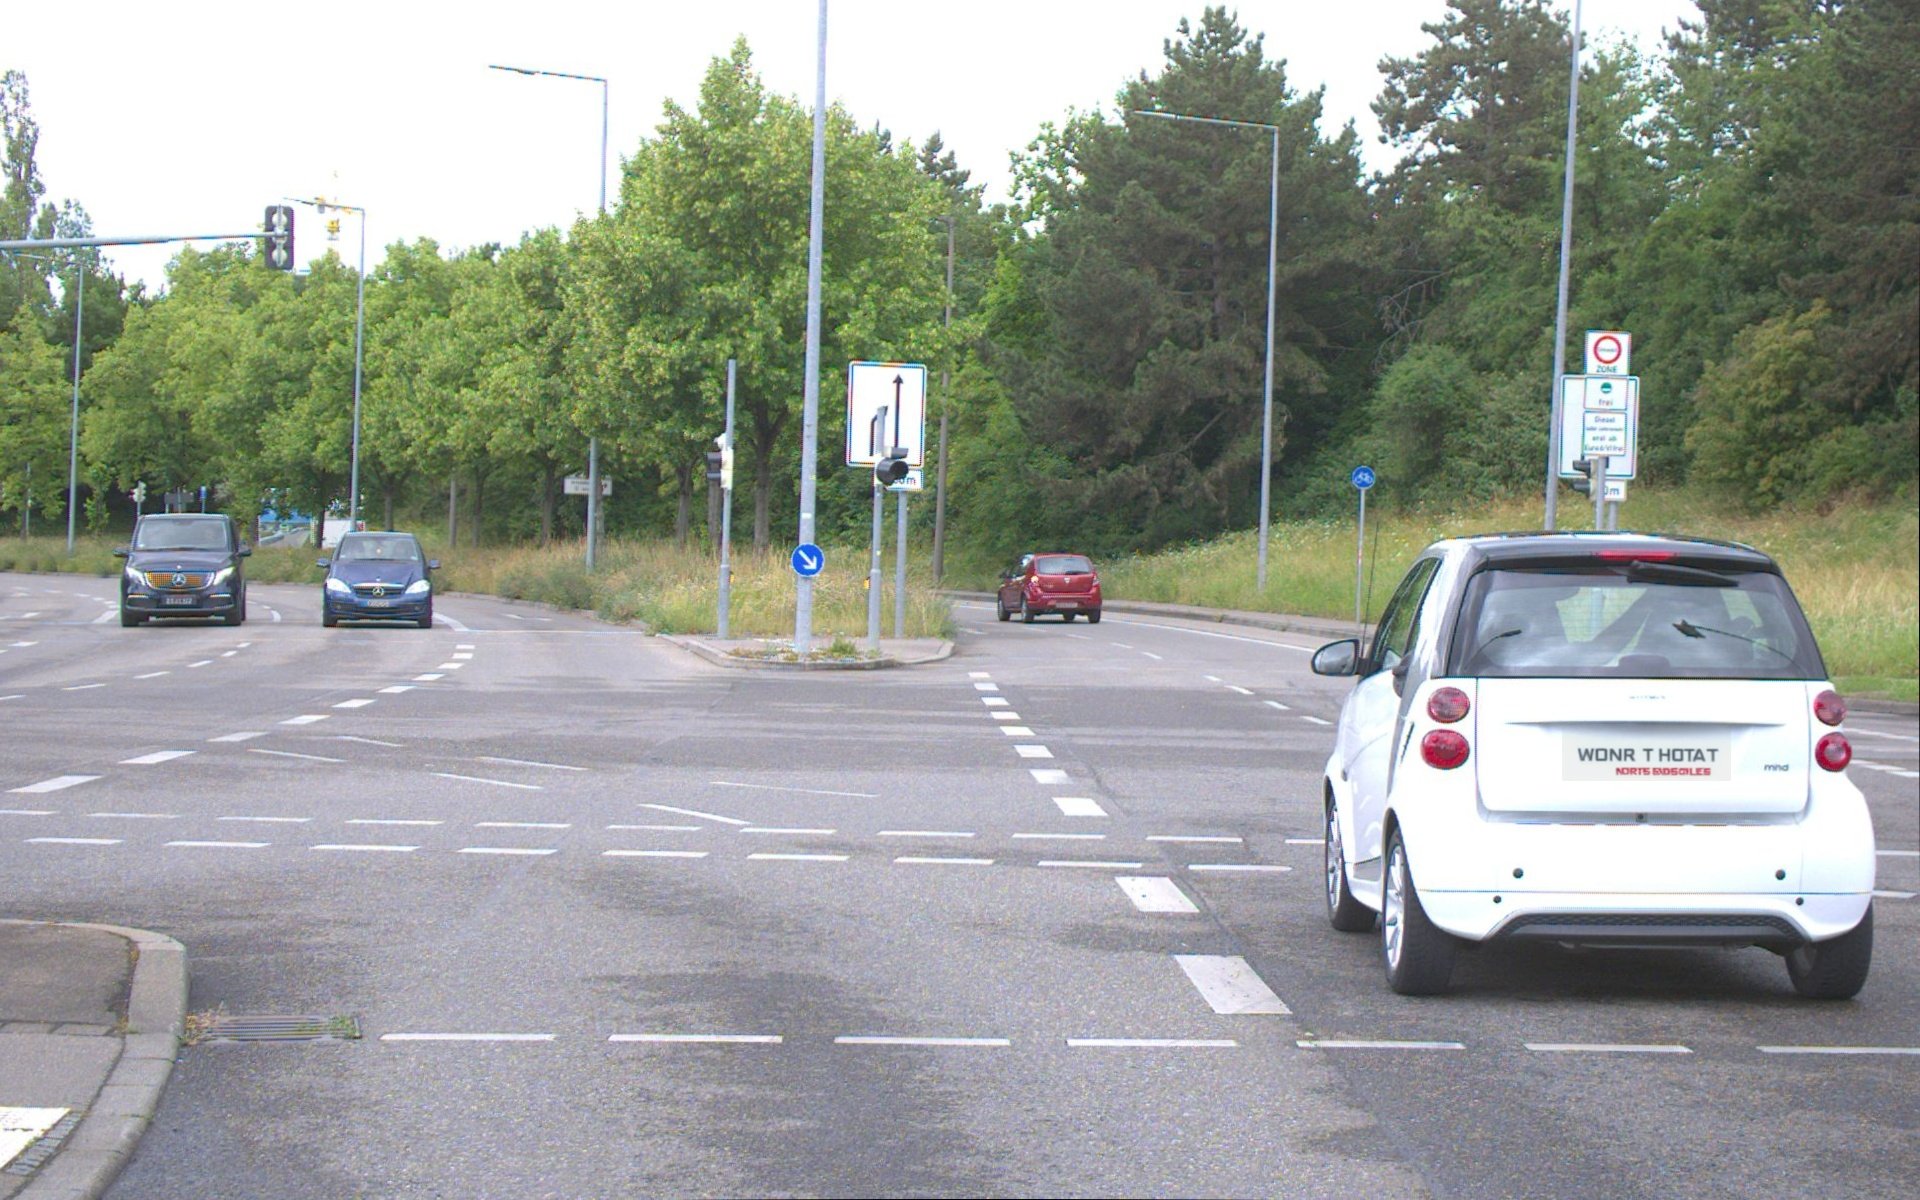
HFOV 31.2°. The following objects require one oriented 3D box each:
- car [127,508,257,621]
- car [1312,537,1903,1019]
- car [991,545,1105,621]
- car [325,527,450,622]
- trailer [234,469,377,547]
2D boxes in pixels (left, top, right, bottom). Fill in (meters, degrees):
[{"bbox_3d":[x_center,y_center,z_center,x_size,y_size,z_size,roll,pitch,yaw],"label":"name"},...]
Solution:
[{"bbox_3d":[-12.909,-0.615,57.989,1.887,1.806,5.094,0,1,-10],"label":"car"},{"bbox_3d":[2.202,0.554,12.322,1.592,1.511,2.766,1,0,0],"label":"car"},{"bbox_3d":[1.910,-0.384,75.716,1.784,1.598,3.888,1,0,-9],"label":"car"},{"bbox_3d":[-9.449,-0.429,56.961,1.735,1.503,3.661,1,0,-5],"label":"car"},{"bbox_3d":[-25.928,-3.620,136.043,2.748,3.002,6.084,0,1,-42],"label":"trailer"}]
